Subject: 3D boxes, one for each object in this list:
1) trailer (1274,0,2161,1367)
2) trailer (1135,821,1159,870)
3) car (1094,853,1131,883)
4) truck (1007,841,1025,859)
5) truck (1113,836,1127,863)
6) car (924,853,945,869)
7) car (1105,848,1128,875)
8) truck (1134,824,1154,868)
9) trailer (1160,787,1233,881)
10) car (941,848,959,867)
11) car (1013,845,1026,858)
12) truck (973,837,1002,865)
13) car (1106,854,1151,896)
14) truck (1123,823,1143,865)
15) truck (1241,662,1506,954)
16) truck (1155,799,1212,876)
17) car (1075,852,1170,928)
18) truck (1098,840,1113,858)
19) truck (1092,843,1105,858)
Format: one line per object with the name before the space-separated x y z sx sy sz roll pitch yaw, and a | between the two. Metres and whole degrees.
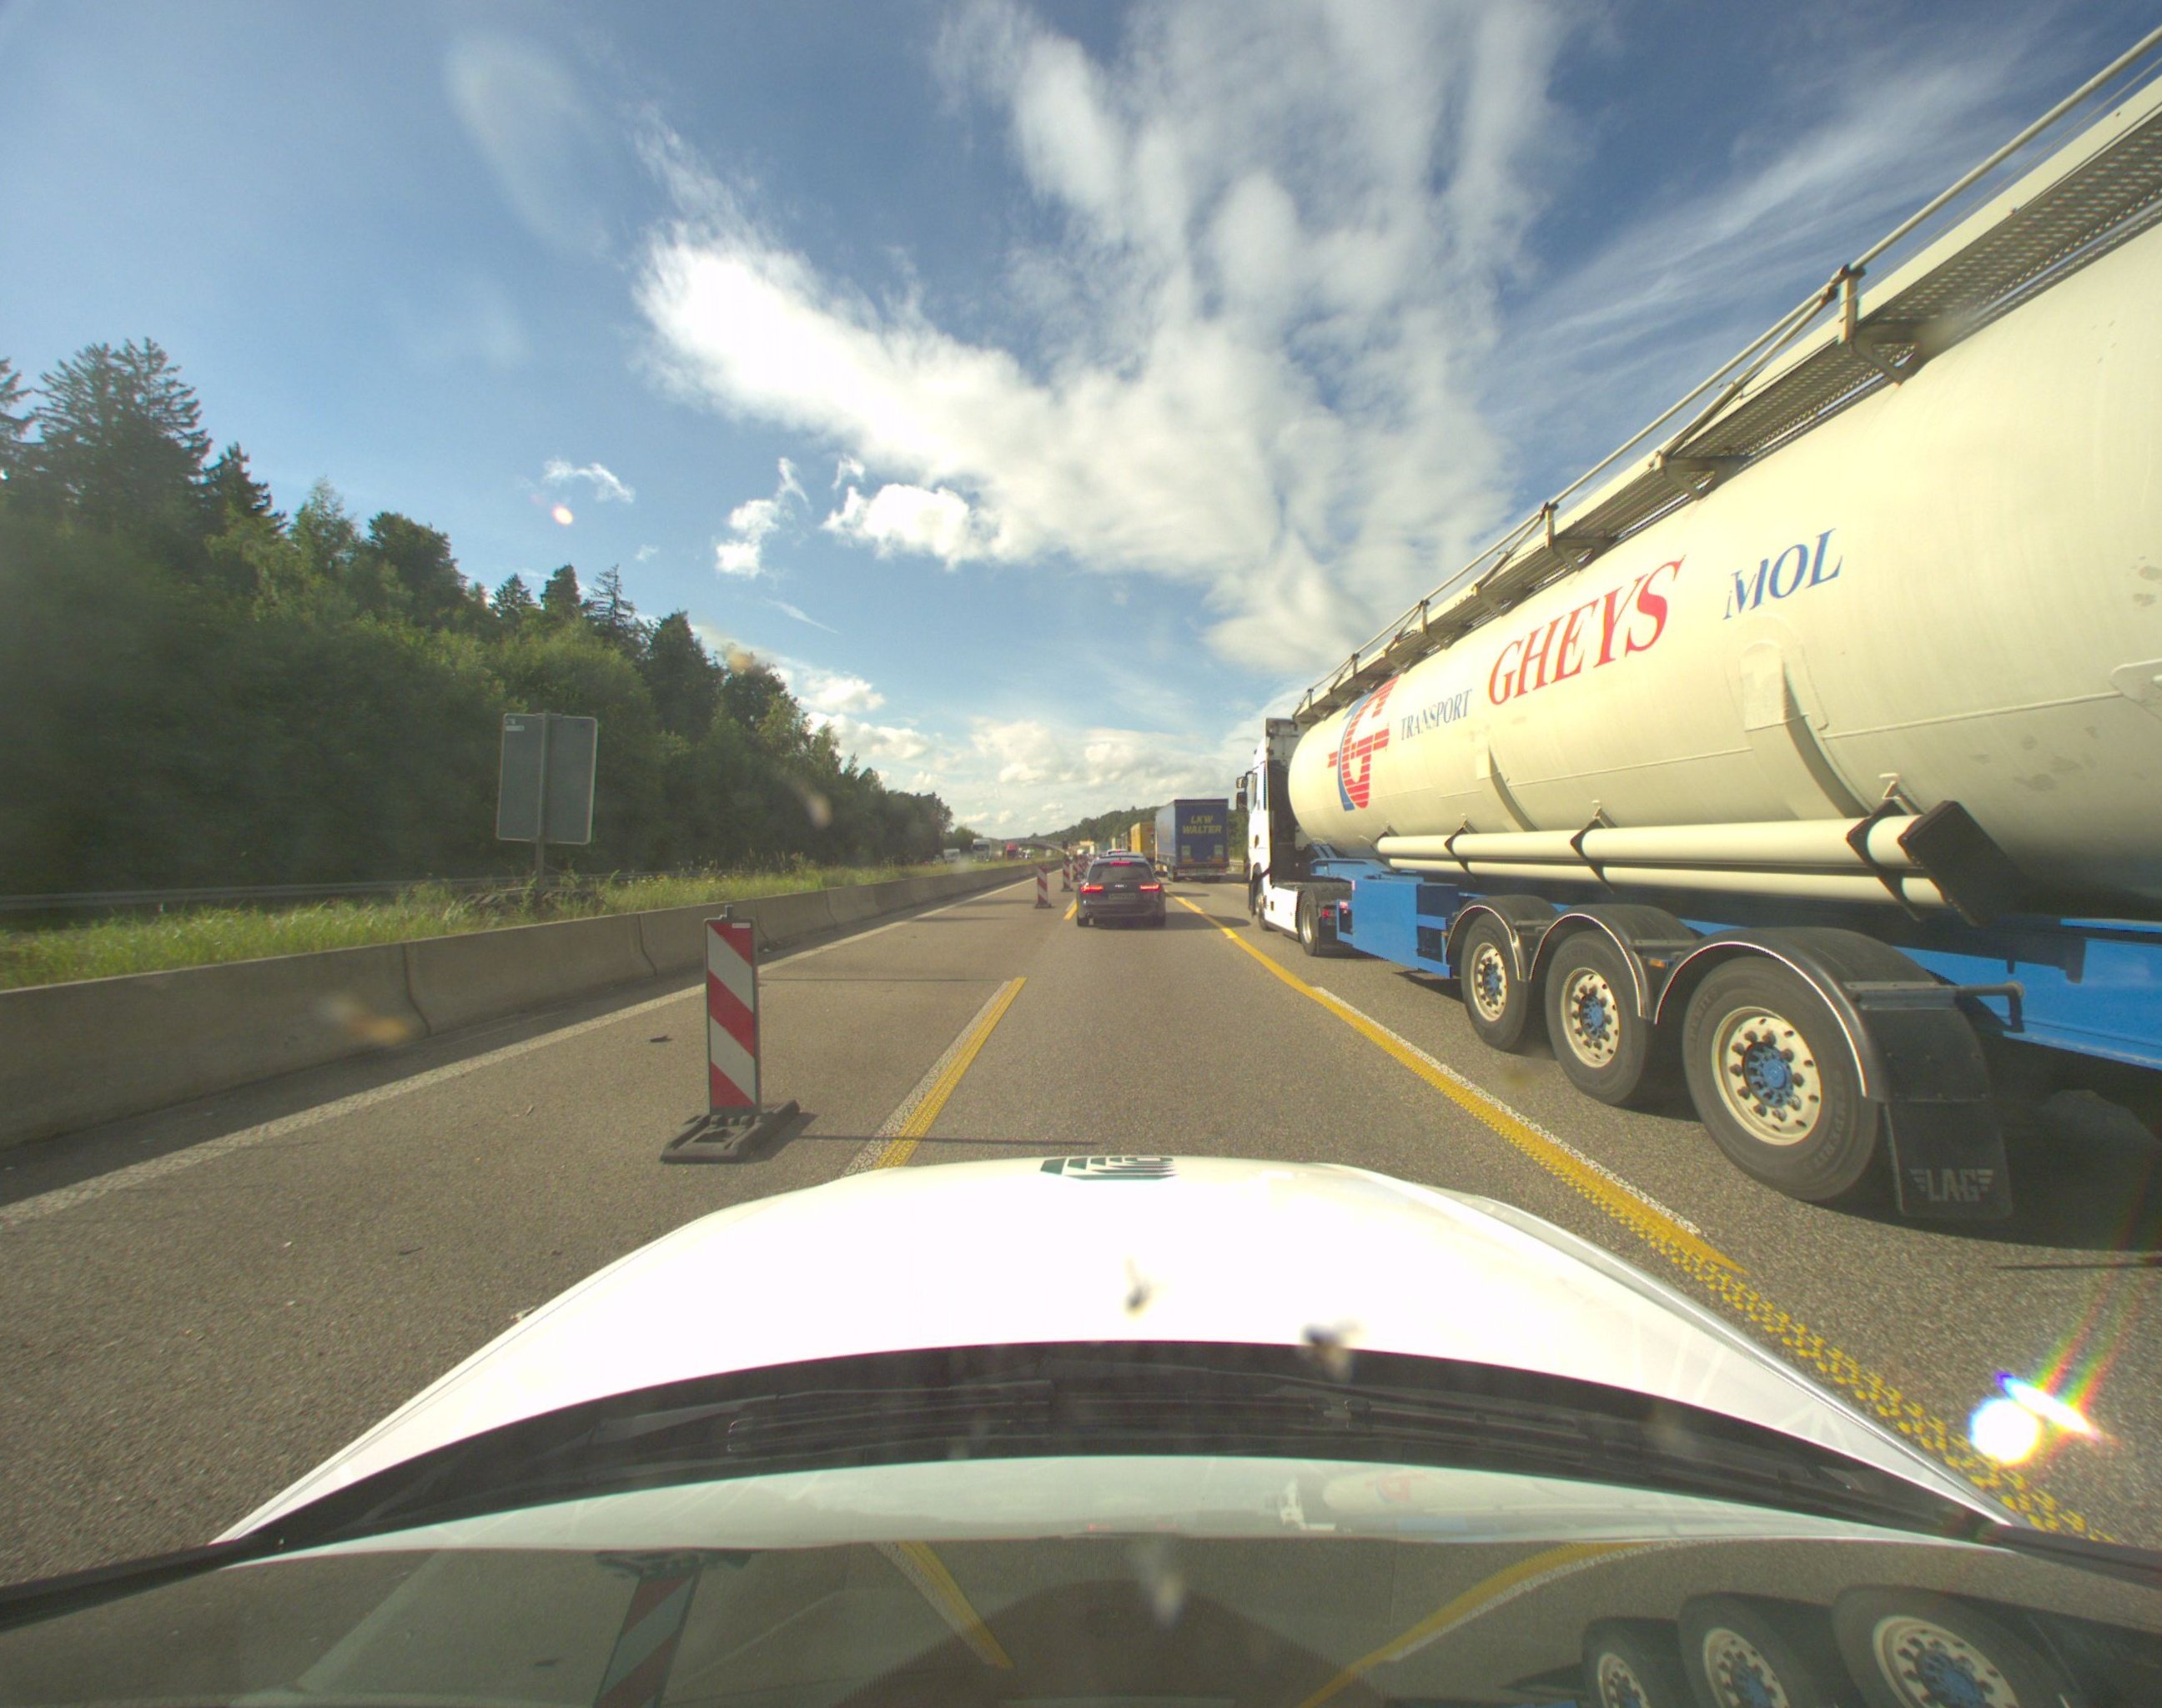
trailer | 4.293 -0.649 7.178 2.634 3.943 12.604 0 0 2
trailer | 5.509 -0.655 68.758 1.610 3.918 6.491 0 -1 1
car | 1.556 0.670 40.028 1.745 1.397 3.610 0 0 2
truck | -14.650 -0.814 183.966 2.789 3.992 10.191 0 0 2
truck | 6.272 -0.642 131.479 2.129 4.257 7.074 0 -1 2
car | -19.774 0.945 109.815 1.986 2.014 4.002 0 -1 2
car | 2.532 0.545 58.503 1.575 1.837 3.113 0 -1 2
truck | 5.606 -0.681 72.901 1.604 3.897 4.073 0 -1 1
trailer | 5.910 -0.904 43.489 2.794 4.413 10.438 0 0 2
car | -19.185 0.493 119.672 2.247 2.643 5.010 0 -1 -5
car | -16.012 -0.672 211.223 2.477 3.370 7.455 0 0 2
truck | -14.276 -0.377 124.694 2.772 3.985 10.867 0 0 2
car | 1.692 0.721 29.364 1.518 1.439 3.286 0 0 2
truck | 6.378 -1.213 100.263 1.986 4.914 9.563 0 0 1
truck | 4.566 -0.607 14.037 2.648 3.972 5.781 0 -1 2
truck | 6.163 -0.891 50.223 2.795 4.369 7.795 0 -1 2
car | 0.901 0.732 18.060 1.841 1.463 4.002 -1 0 2
truck | 5.804 -1.105 194.962 3.293 4.175 9.701 -1 0 0
truck | 4.762 -0.904 225.645 3.294 4.174 9.698 -1 0 -1
